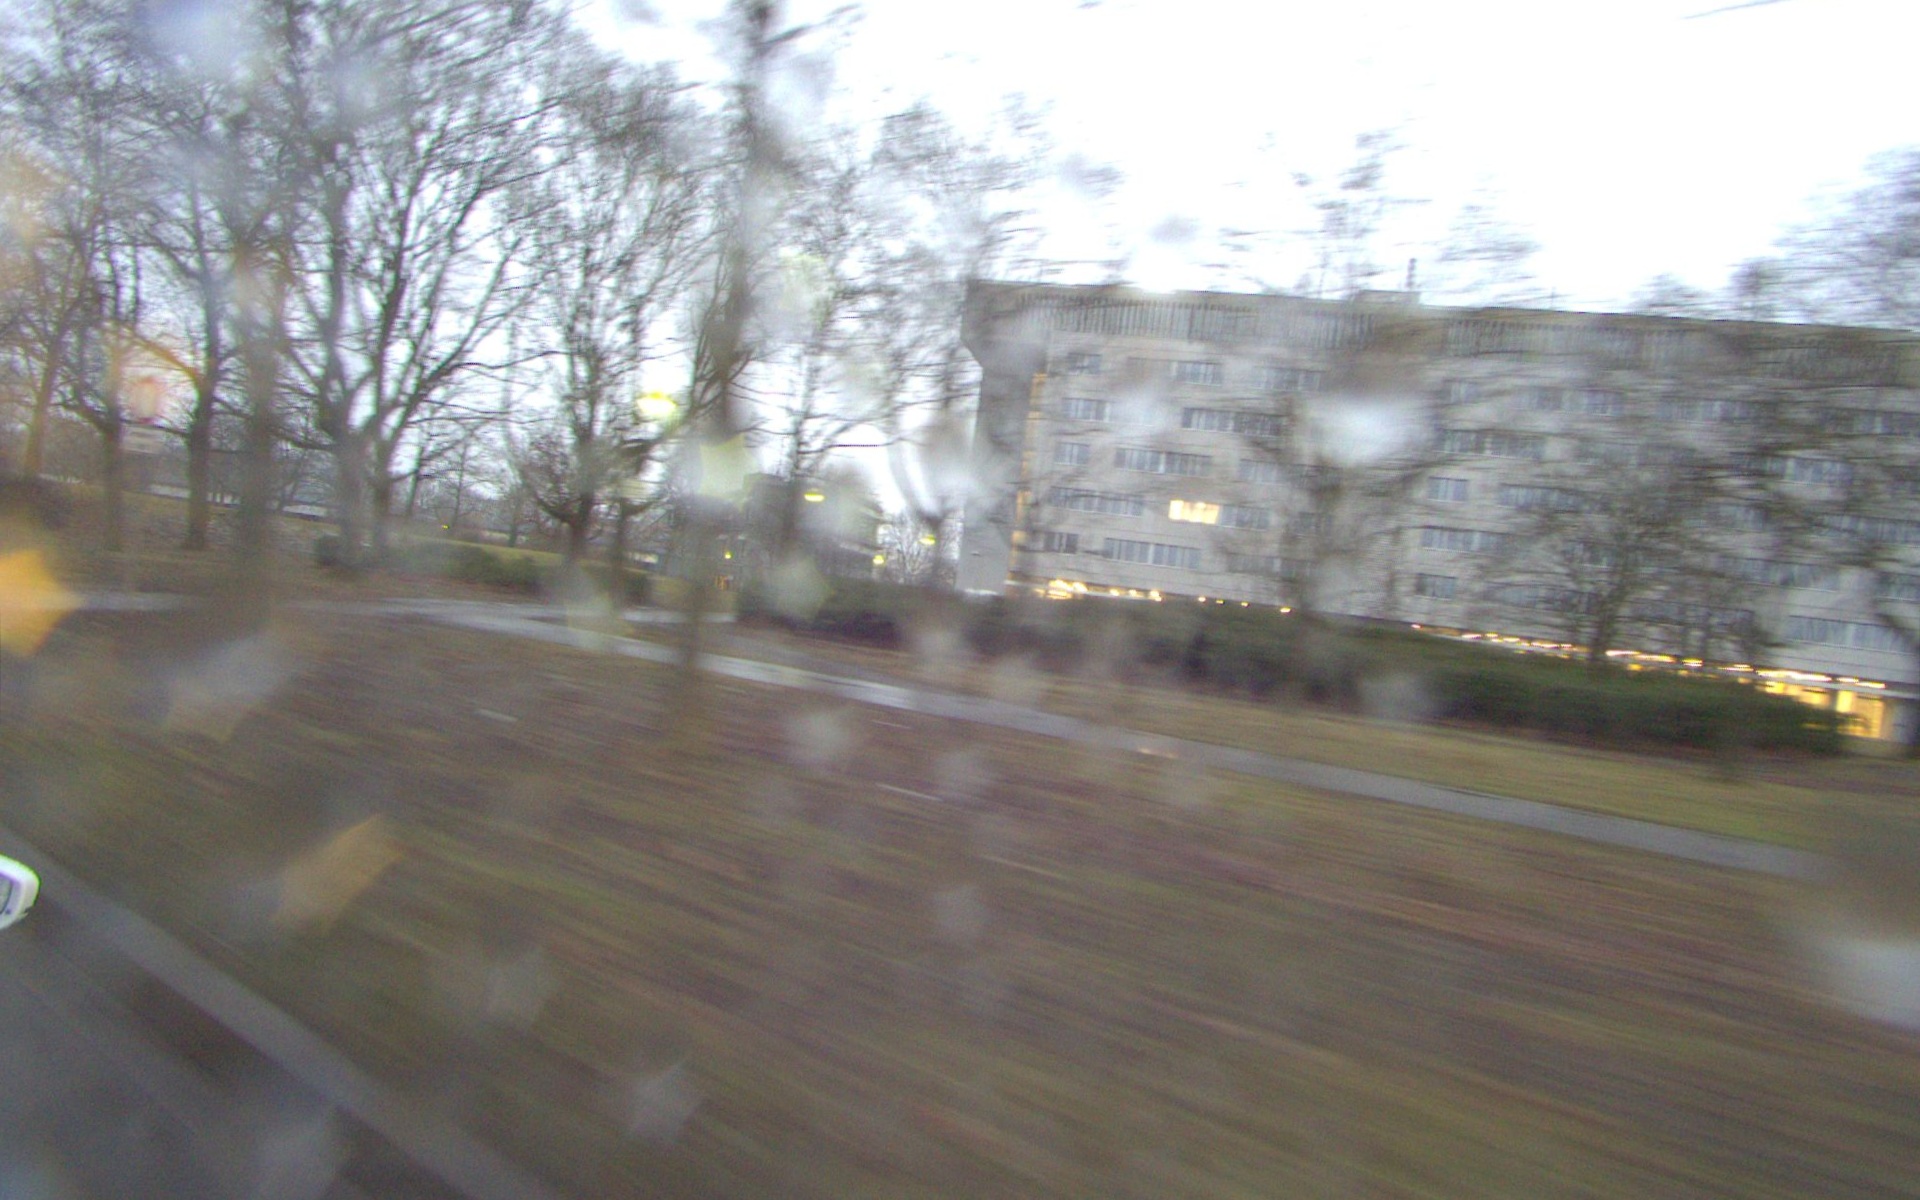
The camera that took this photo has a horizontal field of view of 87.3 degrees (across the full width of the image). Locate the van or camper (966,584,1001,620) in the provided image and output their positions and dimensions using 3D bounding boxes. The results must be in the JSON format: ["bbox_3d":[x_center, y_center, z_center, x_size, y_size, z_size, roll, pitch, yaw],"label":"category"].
[{"bbox_3d":[1.868,0.183,78.034,2.094,2.373,4.481,7,-1,6],"label":"van or camper"}]
